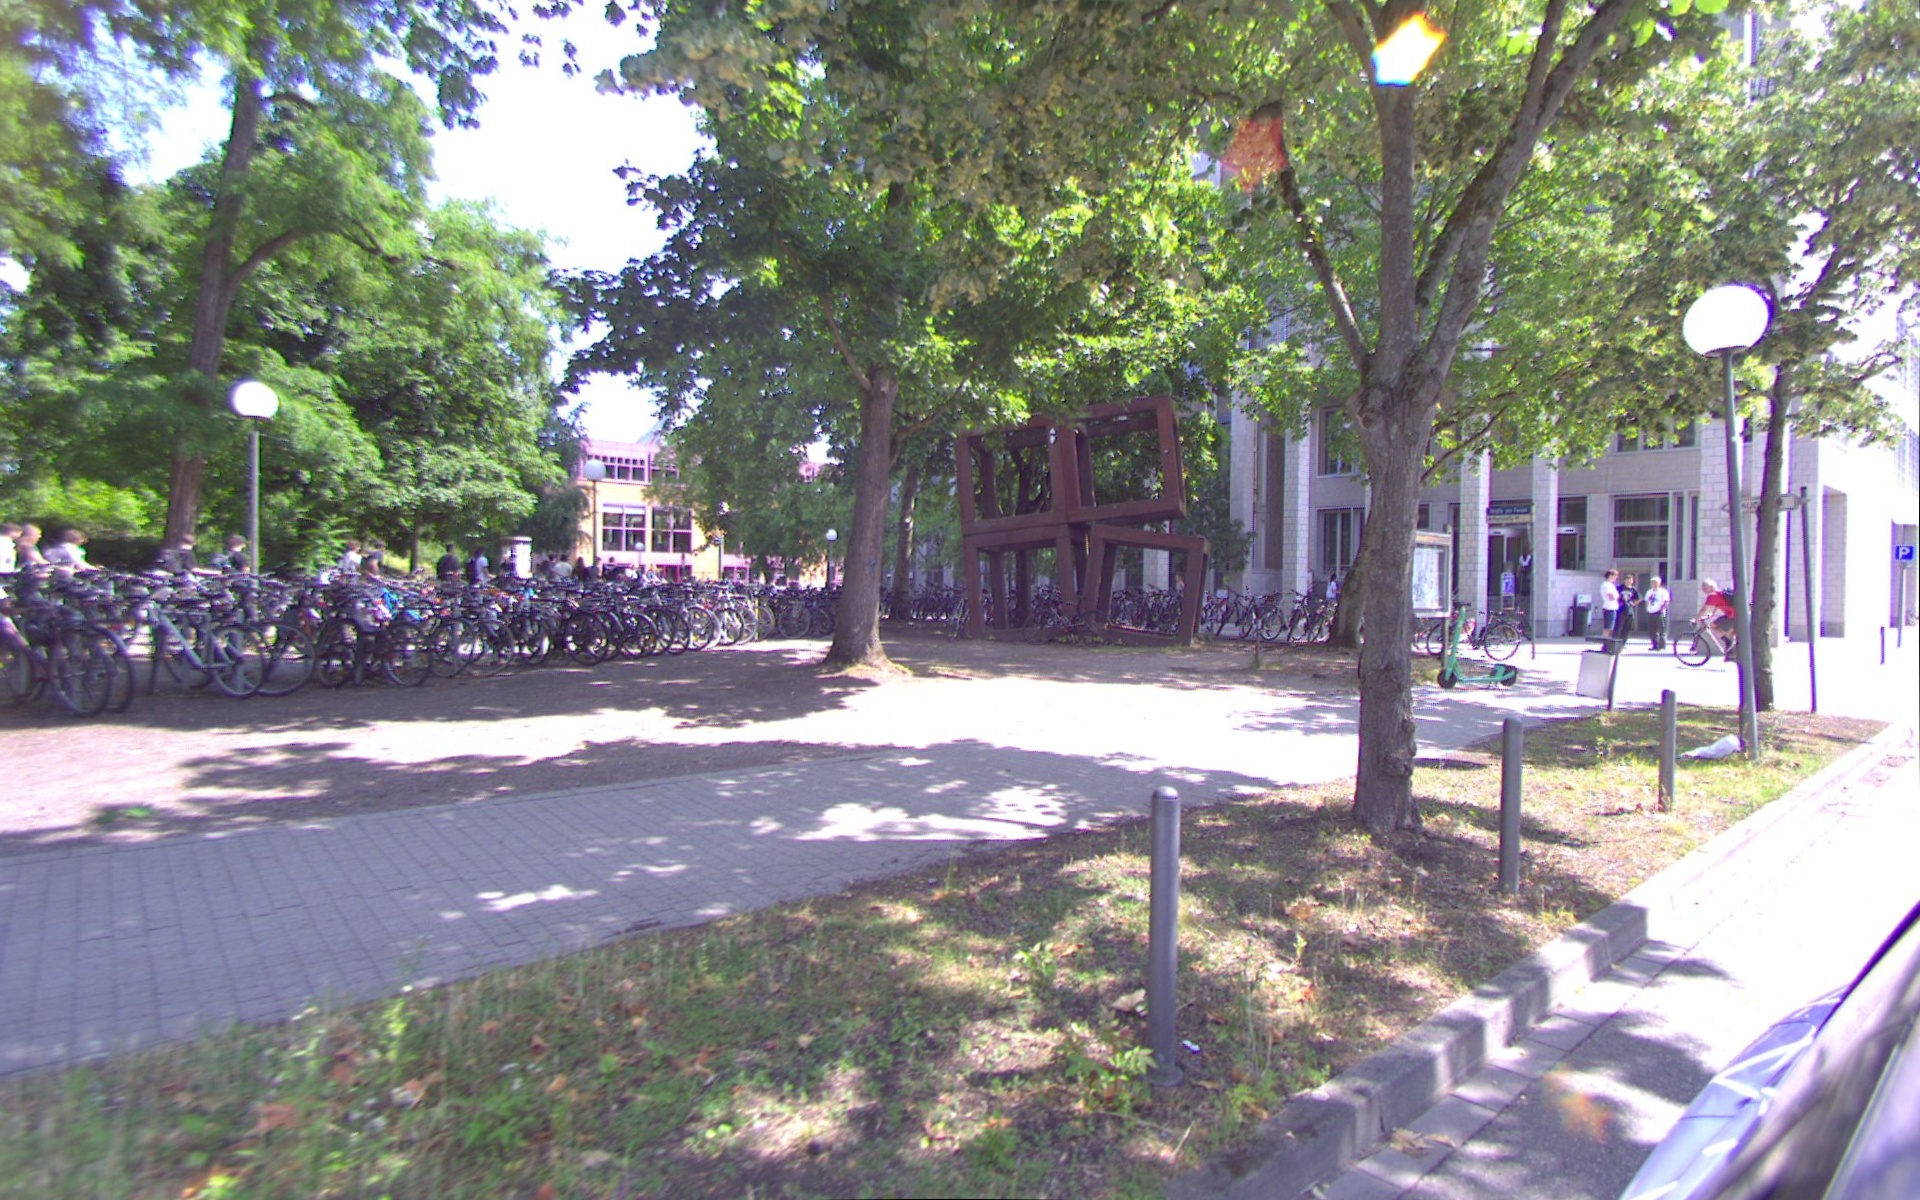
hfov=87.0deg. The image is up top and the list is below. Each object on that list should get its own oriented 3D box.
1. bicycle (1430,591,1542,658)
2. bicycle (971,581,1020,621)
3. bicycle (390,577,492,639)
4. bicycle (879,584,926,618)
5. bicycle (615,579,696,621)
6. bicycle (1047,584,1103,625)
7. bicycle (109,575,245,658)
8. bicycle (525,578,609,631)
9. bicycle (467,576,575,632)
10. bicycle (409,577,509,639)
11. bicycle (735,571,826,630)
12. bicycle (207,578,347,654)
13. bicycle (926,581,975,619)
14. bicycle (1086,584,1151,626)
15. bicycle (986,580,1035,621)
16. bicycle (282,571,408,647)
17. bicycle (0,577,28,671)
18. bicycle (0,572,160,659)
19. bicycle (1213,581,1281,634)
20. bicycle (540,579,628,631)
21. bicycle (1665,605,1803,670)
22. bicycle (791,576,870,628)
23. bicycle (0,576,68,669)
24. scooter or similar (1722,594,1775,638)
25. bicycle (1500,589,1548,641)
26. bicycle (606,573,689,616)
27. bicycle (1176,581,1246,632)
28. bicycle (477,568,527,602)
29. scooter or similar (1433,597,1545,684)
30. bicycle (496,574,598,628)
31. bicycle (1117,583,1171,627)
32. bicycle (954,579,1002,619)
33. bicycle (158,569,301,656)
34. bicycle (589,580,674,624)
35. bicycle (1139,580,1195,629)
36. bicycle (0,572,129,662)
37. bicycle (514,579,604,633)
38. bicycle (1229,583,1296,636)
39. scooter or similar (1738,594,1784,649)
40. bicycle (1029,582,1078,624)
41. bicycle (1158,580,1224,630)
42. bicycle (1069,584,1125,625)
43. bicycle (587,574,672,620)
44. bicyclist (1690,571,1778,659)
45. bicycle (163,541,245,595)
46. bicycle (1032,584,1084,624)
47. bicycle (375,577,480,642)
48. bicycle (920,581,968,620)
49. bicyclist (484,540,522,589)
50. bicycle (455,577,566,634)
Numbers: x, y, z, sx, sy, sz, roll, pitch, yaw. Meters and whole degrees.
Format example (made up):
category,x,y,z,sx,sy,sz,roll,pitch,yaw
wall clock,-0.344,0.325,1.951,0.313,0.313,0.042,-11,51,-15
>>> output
category,x,y,z,sx,sy,sz,roll,pitch,yaw
bicycle,9.625,0.447,18.545,1.749,1.155,0.607,1,2,-8
bicycle,1.052,0.034,29.749,0.453,1.144,1.661,-2,-2,44
bicycle,-8.926,0.122,17.382,1.880,0.991,0.376,2,2,20
bicycle,-1.857,0.041,33.083,0.477,1.098,1.661,-2,-2,44
bicycle,-7.580,-0.004,25.233,1.868,0.991,0.479,1,2,0
bicycle,3.101,0.132,27.213,0.615,1.061,1.661,-2,-2,44
bicycle,-10.257,0.192,13.254,1.880,0.991,0.475,2,2,20
bicycle,-8.196,0.093,21.104,1.714,1.035,0.292,2,1,9
bicycle,-8.297,0.077,19.137,1.867,0.991,0.379,1,1,0
bicycle,-8.793,0.126,17.756,1.880,0.991,0.376,2,2,20
bicycle,-3.744,-0.001,21.136,1.816,1.185,0.412,1,1,11
bicycle,-9.793,0.216,14.520,1.873,0.991,0.477,2,2,11
bicycle,-0.280,0.012,30.815,0.453,1.144,1.661,-2,-2,44
bicycle,4.111,0.150,26.165,1.663,1.061,0.618,1,-2,-33
bicycle,1.469,0.024,29.338,0.453,1.144,1.661,-2,-2,44
bicycle,-9.535,0.126,15.693,1.875,1.096,0.477,2,2,14
bicycle,-11.226,0.235,10.953,1.868,0.991,0.478,1,2,1
bicycle,-10.887,0.172,12.458,1.872,0.991,0.478,2,2,8
bicycle,6.677,0.181,23.495,1.664,1.139,0.566,2,1,-36
bicycle,-7.933,0.096,21.362,1.714,1.035,0.477,2,2,9
bicycle,14.642,0.678,19.207,0.802,1.054,1.935,-3,3,-25
bicycle,-3.104,0.032,24.235,1.818,1.185,0.434,2,1,15
bicycle,-11.141,0.222,11.464,1.872,0.991,0.477,2,2,9
scooter or similar,23.678,0.459,30.411,0.555,1.226,1.507,0,3,9
bicycle,14.578,0.371,26.130,1.798,1.257,0.531,-1,2,-42
bicycle,-7.610,-0.139,24.695,1.868,0.991,0.479,1,2,0
bicycle,5.944,0.154,23.965,1.664,1.139,0.628,2,1,-36
bicycle,-13.968,-0.464,30.914,0.576,0.942,1.750,3,3,6
scooter or similar,7.208,0.548,13.795,1.333,1.128,0.498,2,0,-16
bicycle,-8.138,0.018,19.970,1.868,0.991,0.378,2,1,1
bicycle,4.663,0.141,25.572,0.566,1.061,1.671,-2,-2,41
bicycle,0.545,-0.011,30.057,0.453,1.144,1.661,-2,-2,44
bicycle,-9.945,0.148,13.781,1.875,1.096,0.477,2,2,14
bicycle,-7.771,0.039,23.957,1.871,0.991,0.478,2,2,6
bicycle,5.144,0.128,25.113,0.625,1.165,1.671,-2,-2,40
bicycle,-10.941,0.189,12.061,1.872,0.991,0.478,2,2,8
bicycle,-8.209,0.108,20.730,1.714,1.035,0.477,2,2,9
bicycle,6.883,0.228,23.006,1.664,1.139,0.482,2,1,-36
scooter or similar,19.071,0.499,24.075,1.485,1.226,0.564,0,4,-42
bicycle,2.632,0.090,28.373,0.453,1.144,1.661,-2,-2,44
bicycle,5.624,0.130,24.629,1.666,1.165,0.627,2,1,-40
bicycle,3.624,0.135,26.718,0.615,1.061,1.661,-2,-2,44
bicycle,-7.667,-0.079,23.464,1.874,0.991,0.477,2,2,12
bicyclist,14.655,0.273,19.187,0.821,1.562,0.961,3,2,-28
bicycle,-16.124,-0.691,21.592,1.586,1.107,0.477,2,2,12
bicycle,2.695,0.123,27.627,0.499,1.061,1.661,-2,-2,44
bicycle,-8.919,0.146,16.939,1.880,0.991,0.376,2,2,20
bicycle,-0.499,0.030,31.312,0.453,1.144,1.661,-2,-2,44
bicyclist,-13.911,-1.078,30.840,0.732,1.464,0.802,2,0,6
bicycle,-8.285,0.099,18.687,1.867,0.991,0.379,1,1,0
